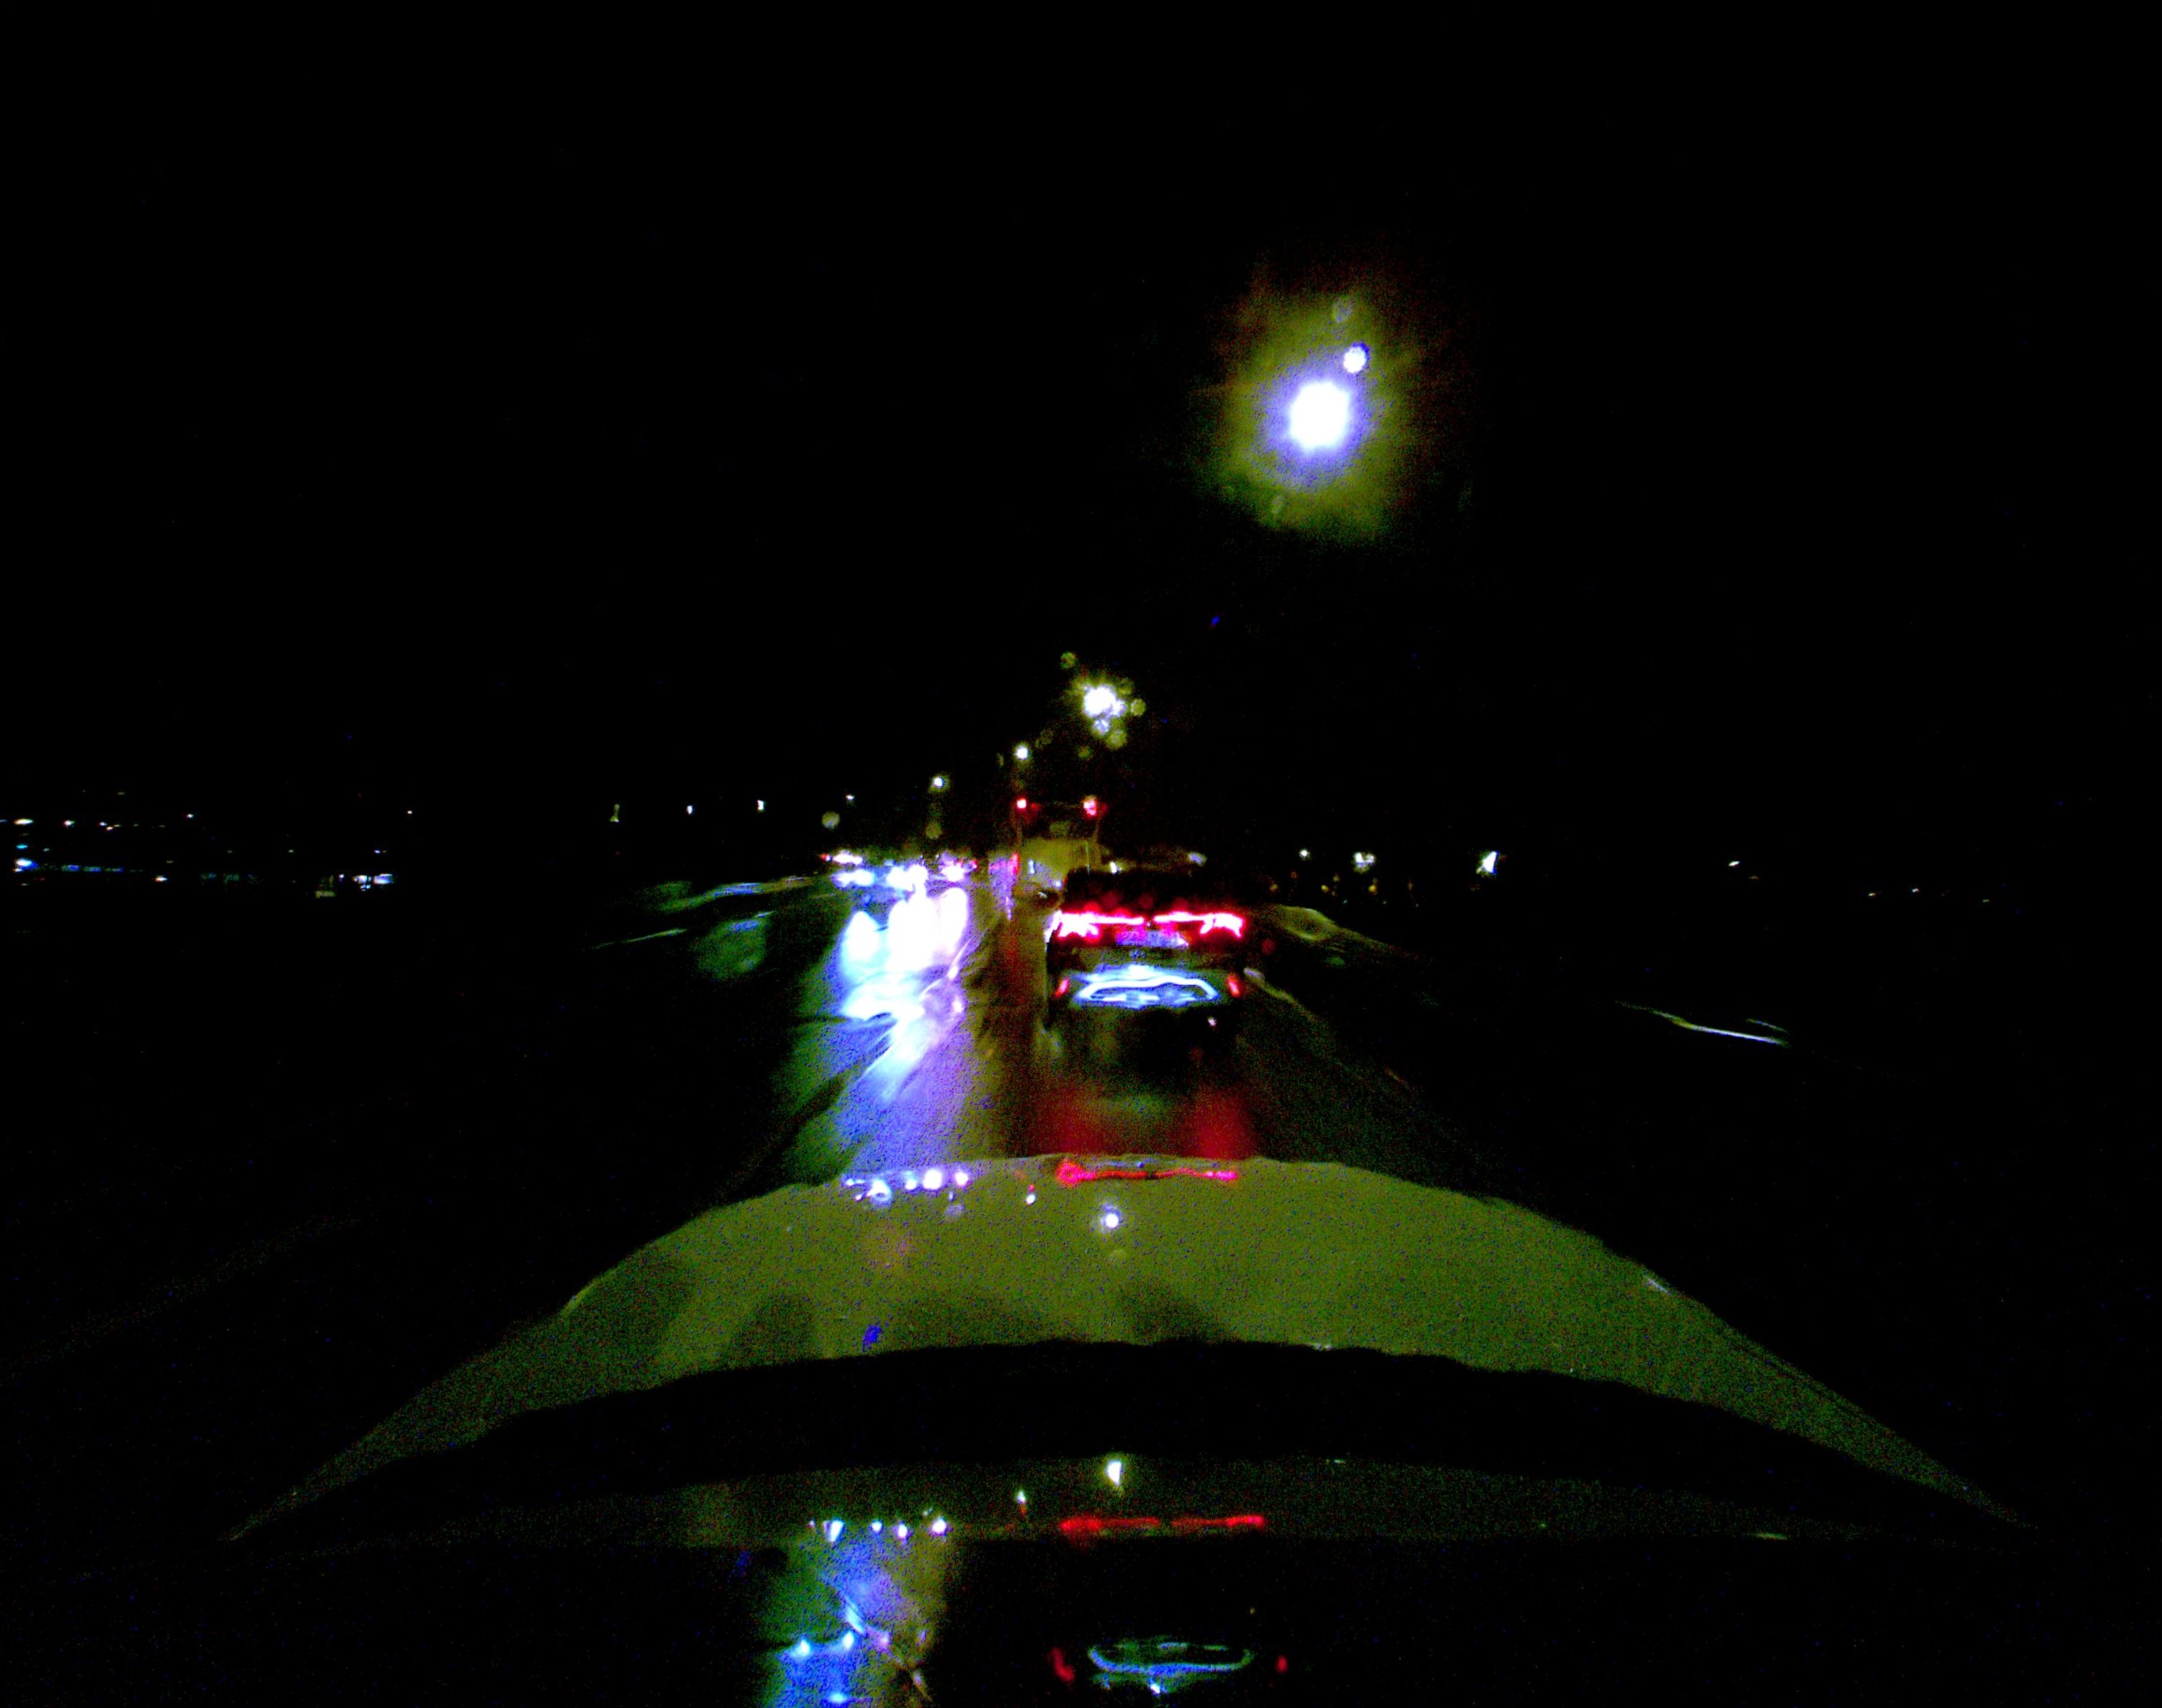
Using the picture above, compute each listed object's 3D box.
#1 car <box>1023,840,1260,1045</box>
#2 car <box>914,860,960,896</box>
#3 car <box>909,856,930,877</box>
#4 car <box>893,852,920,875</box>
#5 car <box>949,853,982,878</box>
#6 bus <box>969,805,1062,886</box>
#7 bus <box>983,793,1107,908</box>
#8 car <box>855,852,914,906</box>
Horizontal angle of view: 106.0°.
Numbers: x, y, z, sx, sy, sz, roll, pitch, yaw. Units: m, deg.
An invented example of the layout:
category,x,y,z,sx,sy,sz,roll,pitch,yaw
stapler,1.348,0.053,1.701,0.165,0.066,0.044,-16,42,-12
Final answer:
category,x,y,z,sx,sy,sz,roll,pitch,yaw
car,0.436,0.724,8.465,1.851,1.586,3.997,1,-1,-2
car,-6.244,0.996,35.662,1.894,1.439,4.051,0,0,-8
car,-14.543,1.135,73.363,1.310,1.659,3.173,7,-3,-17
car,-11.563,0.617,54.149,1.683,1.391,4.434,1,-1,-11
car,-8.338,0.852,58.537,1.641,1.655,3.686,-3,0,-19
bus,-3.339,-0.321,38.913,3.051,3.132,8.043,7,-2,-12
bus,-1.723,-0.143,28.741,3.082,3.132,12.659,0,0,-9
car,-6.344,0.762,26.560,1.469,1.584,3.184,0,1,-7
